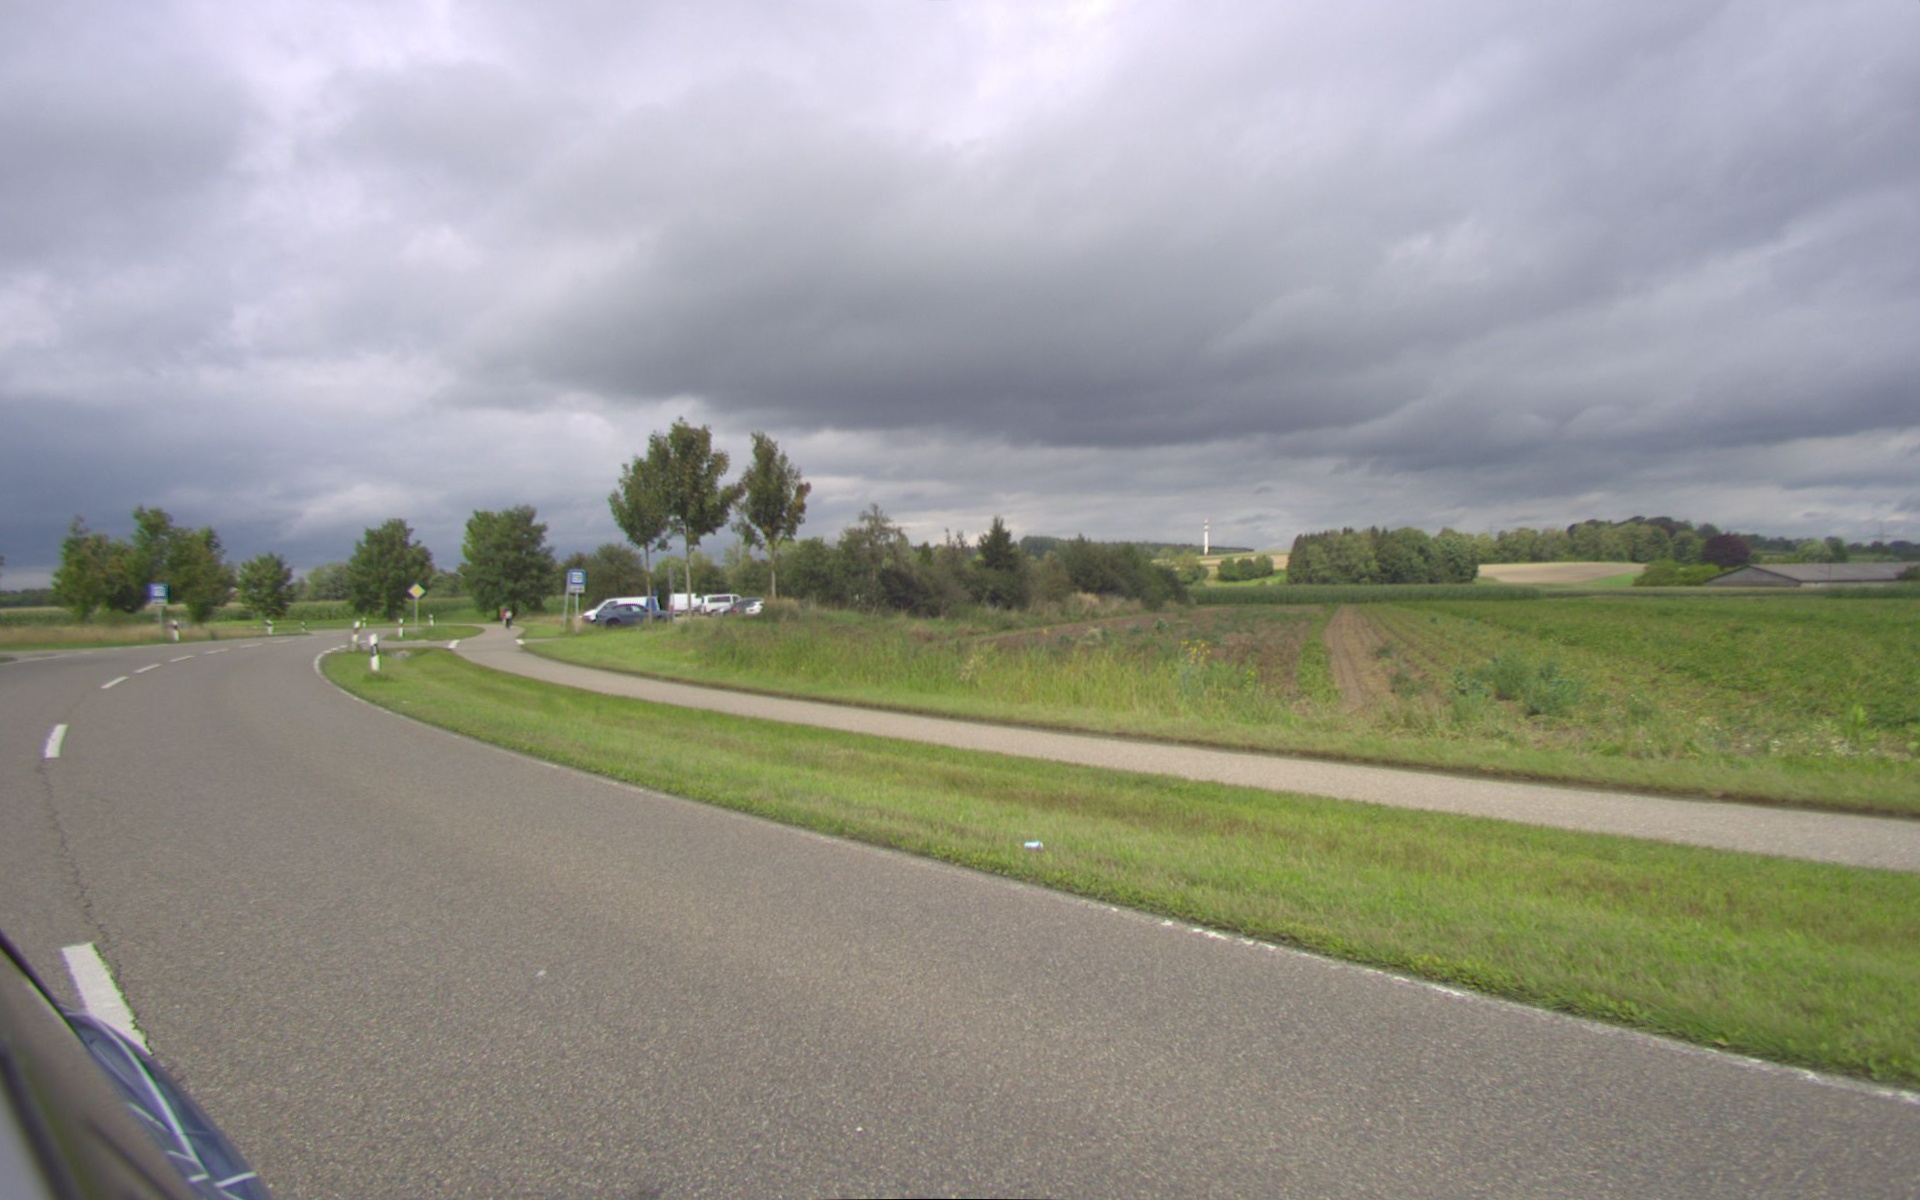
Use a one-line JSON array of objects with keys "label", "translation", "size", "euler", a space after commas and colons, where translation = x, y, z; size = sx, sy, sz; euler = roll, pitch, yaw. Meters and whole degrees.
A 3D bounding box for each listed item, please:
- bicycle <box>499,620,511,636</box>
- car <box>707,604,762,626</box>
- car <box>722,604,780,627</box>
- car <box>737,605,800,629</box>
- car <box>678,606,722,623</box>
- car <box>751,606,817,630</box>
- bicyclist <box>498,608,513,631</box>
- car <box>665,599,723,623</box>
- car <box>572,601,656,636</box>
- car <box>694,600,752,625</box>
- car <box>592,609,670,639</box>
[{"label": "bicycle", "translation": [-31.642, 1.943, 70.390], "size": [0.627, 1.040, 2.198], "euler": [-1, 0, -21]}, {"label": "car", "translation": [-18.223, 1.226, 81.816], "size": [3.931, 1.563, 1.972], "euler": [-3, 0, -23]}, {"label": "car", "translation": [-15.974, 1.180, 77.245], "size": [3.931, 1.563, 1.972], "euler": [-3, 0, -23]}, {"label": "car", "translation": [-13.731, 1.211, 72.683], "size": [3.932, 1.563, 1.972], "euler": [-3, 0, -30]}, {"label": "car", "translation": [-25.825, 1.395, 100.560], "size": [3.931, 1.536, 1.800], "euler": [-2, 0, -25]}, {"label": "car", "translation": [-11.830, 1.213, 68.142], "size": [3.932, 1.398, 1.847], "euler": [-3, 0, -30]}, {"label": "bicyclist", "translation": [-31.650, 1.372, 70.442], "size": [0.819, 1.577, 1.059], "euler": [-1, 0, -19]}, {"label": "car", "translation": [-30.526, 1.255, 116.158], "size": [6.226, 2.639, 2.208], "euler": [-1, 0, -23]}, {"label": "car", "translation": [-21.908, 1.162, 64.096], "size": [4.825, 2.029, 2.063], "euler": [-1, 0, -24]}, {"label": "car", "translation": [-21.344, 1.096, 91.128], "size": [4.615, 1.940, 2.068], "euler": [-3, 0, -25]}, {"label": "car", "translation": [-19.410, 1.402, 59.738], "size": [4.188, 1.607, 2.007], "euler": [-1, 0, -23]}]
